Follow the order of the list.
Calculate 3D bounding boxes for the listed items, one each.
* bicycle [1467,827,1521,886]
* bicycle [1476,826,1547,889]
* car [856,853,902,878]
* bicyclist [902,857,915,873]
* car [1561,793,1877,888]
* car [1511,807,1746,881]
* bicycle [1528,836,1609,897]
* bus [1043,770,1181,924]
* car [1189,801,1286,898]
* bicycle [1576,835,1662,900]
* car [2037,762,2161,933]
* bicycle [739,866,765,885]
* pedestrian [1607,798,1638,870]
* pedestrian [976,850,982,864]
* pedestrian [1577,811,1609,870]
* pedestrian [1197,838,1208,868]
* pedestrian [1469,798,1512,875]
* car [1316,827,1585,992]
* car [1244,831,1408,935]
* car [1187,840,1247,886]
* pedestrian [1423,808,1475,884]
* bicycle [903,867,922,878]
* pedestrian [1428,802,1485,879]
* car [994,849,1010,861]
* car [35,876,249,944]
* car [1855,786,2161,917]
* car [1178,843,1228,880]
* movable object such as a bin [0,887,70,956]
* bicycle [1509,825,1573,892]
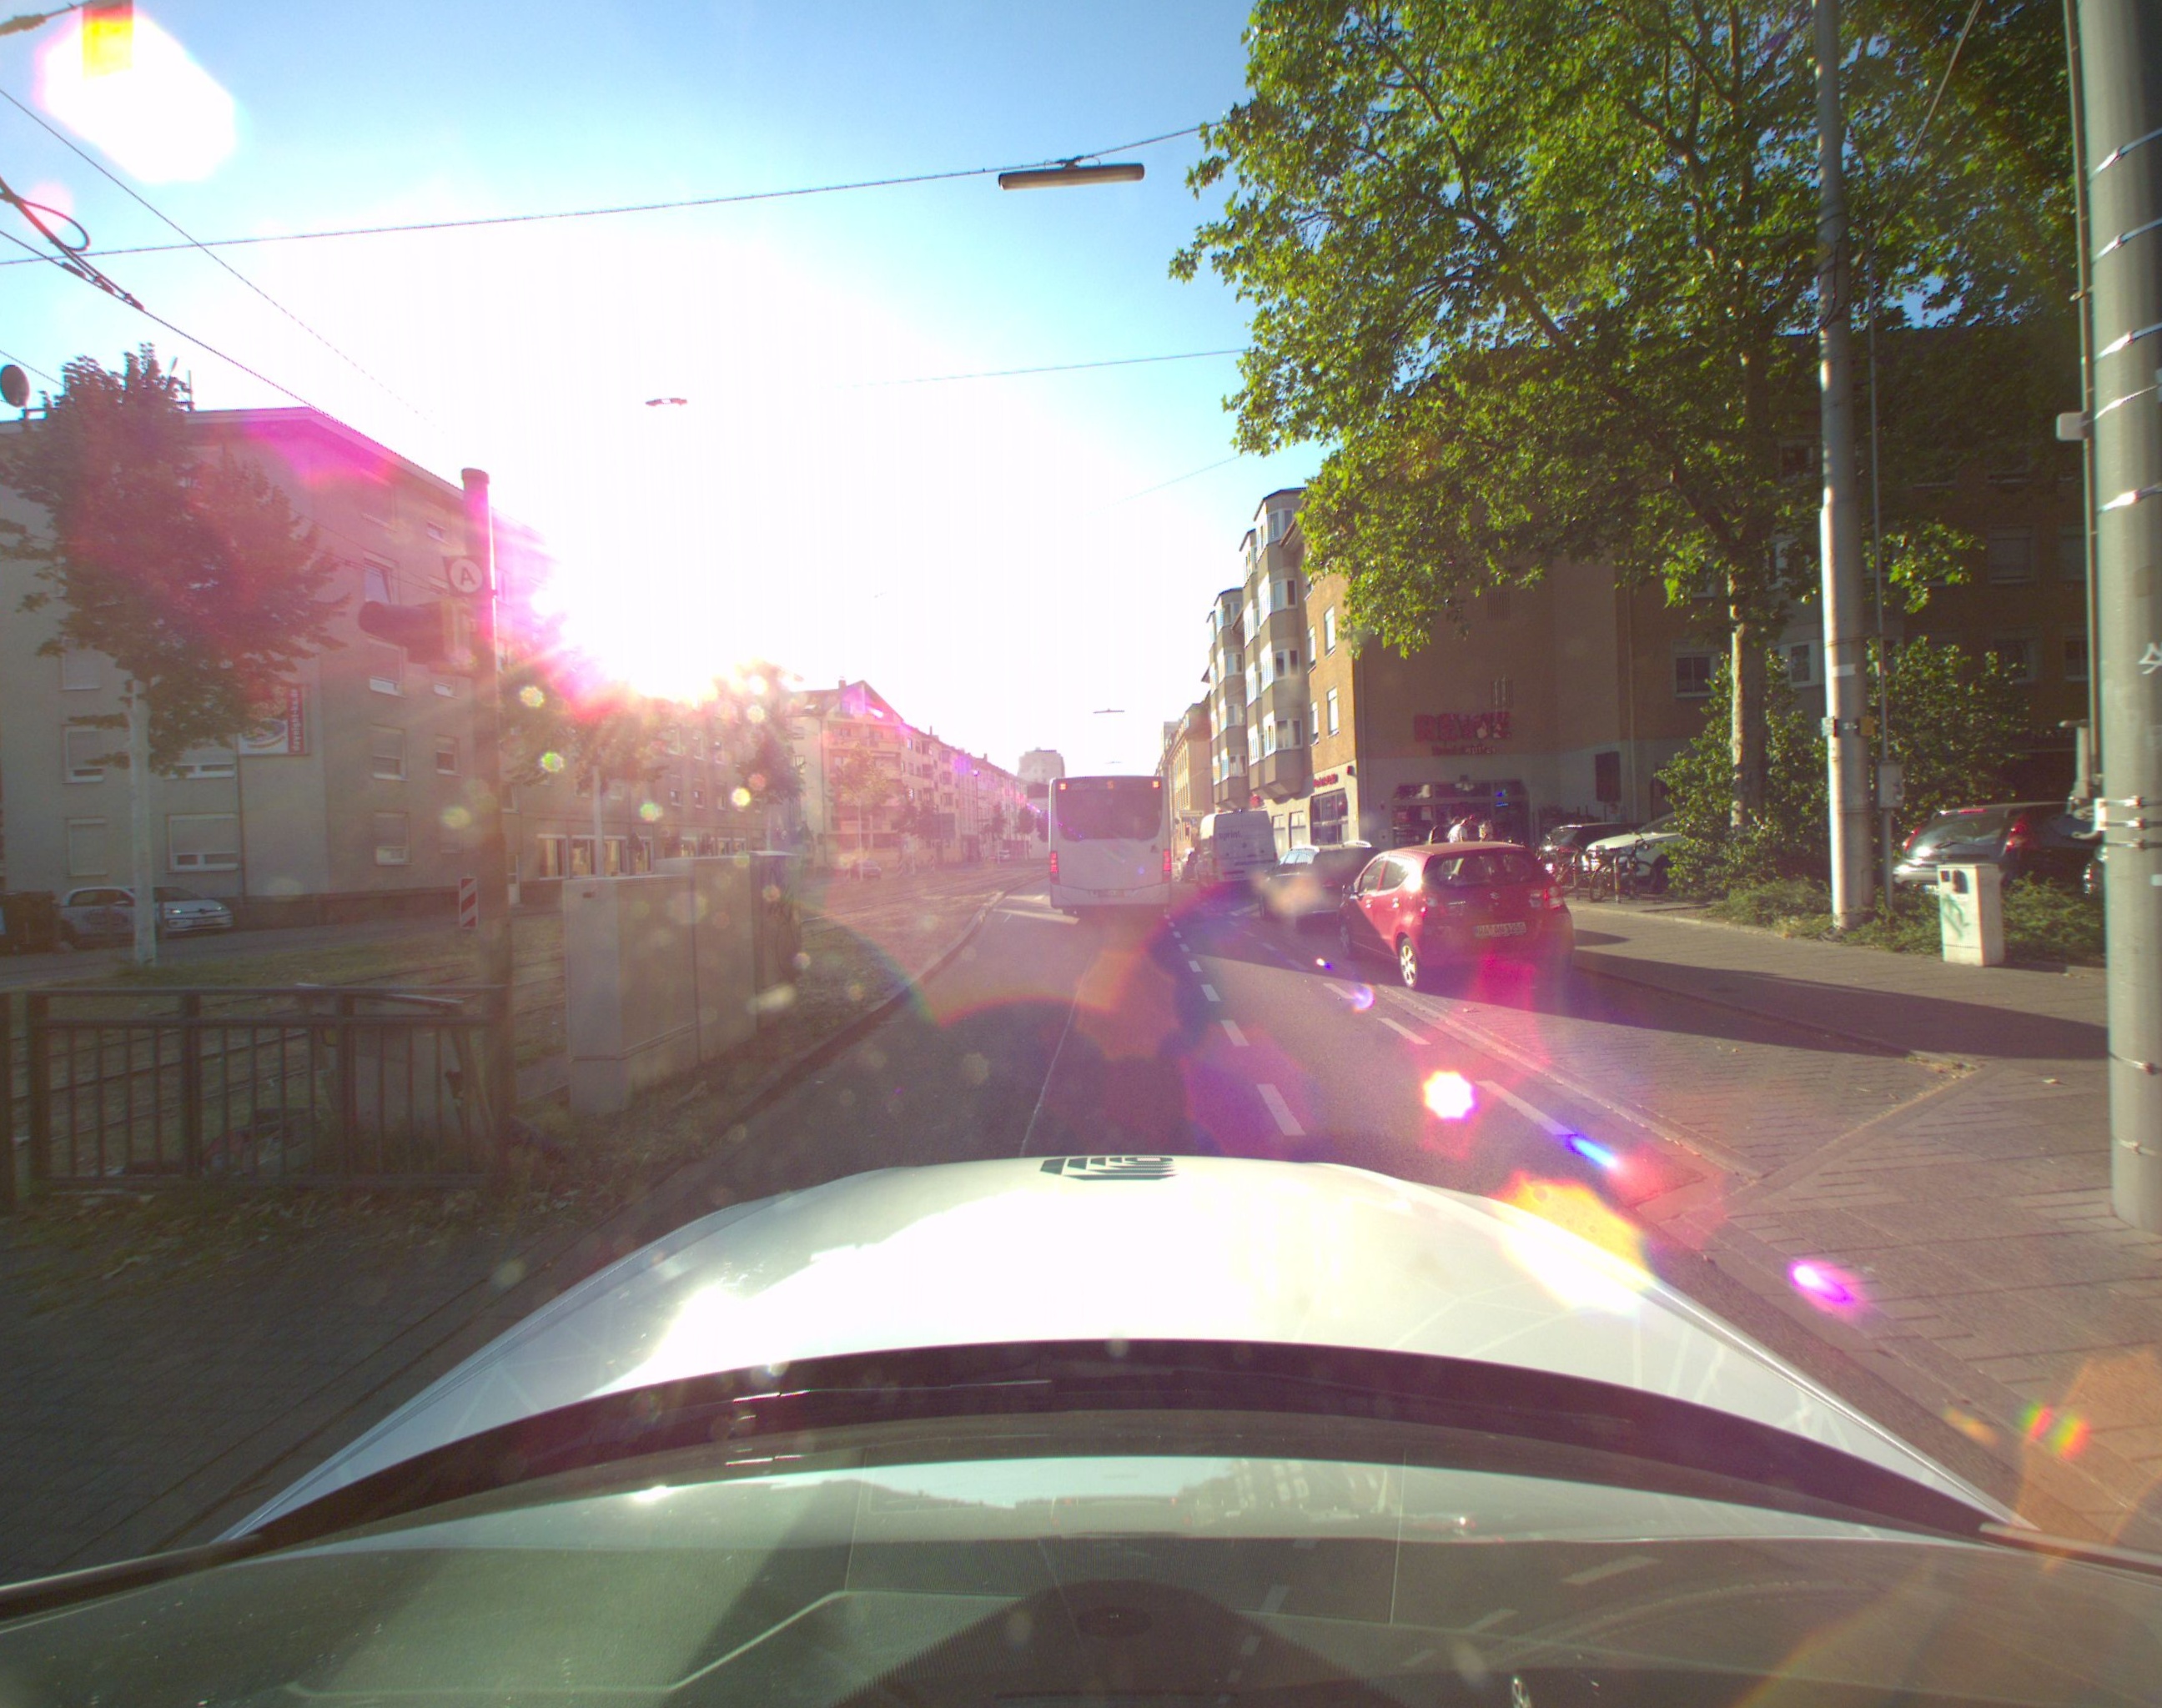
[{"bbox_3d":[9.052,0.035,17.835,1.528,1.226,0.399,-3,0,-38],"label":"bicycle"},{"bbox_3d":[9.022,0.059,17.045,1.590,1.226,0.644,-3,0,-36],"label":"bicycle"},{"bbox_3d":[-14.883,0.816,60.247,1.804,1.560,4.940,-3,0,4],"label":"car"},{"bbox_3d":[-16.429,1.031,77.567,0.522,1.447,0.971,-3,0,33],"label":"bicyclist"},{"bbox_3d":[12.249,-0.255,15.894,4.600,1.709,2.001,1,0,1],"label":"car"},{"bbox_3d":[12.455,-0.182,18.755,3.999,1.432,2.000,-2,-3,1],"label":"car"},{"bbox_3d":[8.801,0.212,14.691,1.590,1.014,0.644,-3,0,-36],"label":"bicycle"},{"bbox_3d":[0.859,-0.179,20.764,2.727,3.055,8.861,-1,0,3],"label":"bus"},{"bbox_3d":[4.789,-0.136,25.800,2.009,2.551,5.789,-6,0,3],"label":"car"},{"bbox_3d":[9.228,0.211,13.954,1.687,1.014,0.644,-3,0,-36],"label":"bicycle"},{"bbox_3d":[12.117,-0.039,7.670,4.006,1.600,1.857,1,0,1],"label":"car"},{"bbox_3d":[-20.332,1.324,50.385,0.743,1.115,1.780,-2,0,3],"label":"bicycle"},{"bbox_3d":[14.392,-0.533,21.632,0.578,1.881,0.468,-3,0,-38],"label":"pedestrian"},{"bbox_3d":[-15.246,0.401,121.572,0.784,2.013,0.890,-2,0,-1],"label":"pedestrian"},{"bbox_3d":[13.865,-0.369,22.044,0.640,1.568,0.418,-3,0,-28],"label":"pedestrian"},{"bbox_3d":[7.288,-0.045,48.820,0.544,1.784,0.450,-2,0,3],"label":"pedestrian"},{"bbox_3d":[9.764,-0.417,19.436,0.526,1.781,0.649,-6,1,-5],"label":"pedestrian"},{"bbox_3d":[4.113,0.531,9.732,1.564,1.494,3.627,-4,0,2],"label":"car"},{"bbox_3d":[4.376,0.449,15.345,1.690,1.530,4.654,-5,0,1],"label":"car"},{"bbox_3d":[5.151,0.313,31.308,1.831,1.588,3.789,-3,0,3],"label":"car"},{"bbox_3d":[8.911,-0.196,19.733,0.803,1.751,0.769,-5,1,3],"label":"pedestrian"},{"bbox_3d":[-16.131,1.782,77.960,0.522,0.984,1.895,-2,0,33],"label":"bicycle"},{"bbox_3d":[8.463,-0.306,18.386,0.658,1.636,0.989,-6,1,-5],"label":"pedestrian"},{"bbox_3d":[-12.861,0.174,132.084,1.804,1.797,4.250,-3,0,4],"label":"car"},{"bbox_3d":[-25.086,1.482,21.835,3.798,1.512,1.821,-3,0,5],"label":"car"},{"bbox_3d":[12.251,-0.028,10.168,3.484,1.482,1.774,1,0,1],"label":"car"},{"bbox_3d":[5.507,0.300,37.323,1.831,1.536,4.233,-3,0,3],"label":"car"},{"bbox_3d":[-22.888,1.461,17.762,0.661,1.400,0.749,-3,0,1],"label":"movable object such as a bin"},{"bbox_3d":[9.024,0.077,15.958,1.592,1.226,0.639,-3,0,-44],"label":"bicycle"}]
